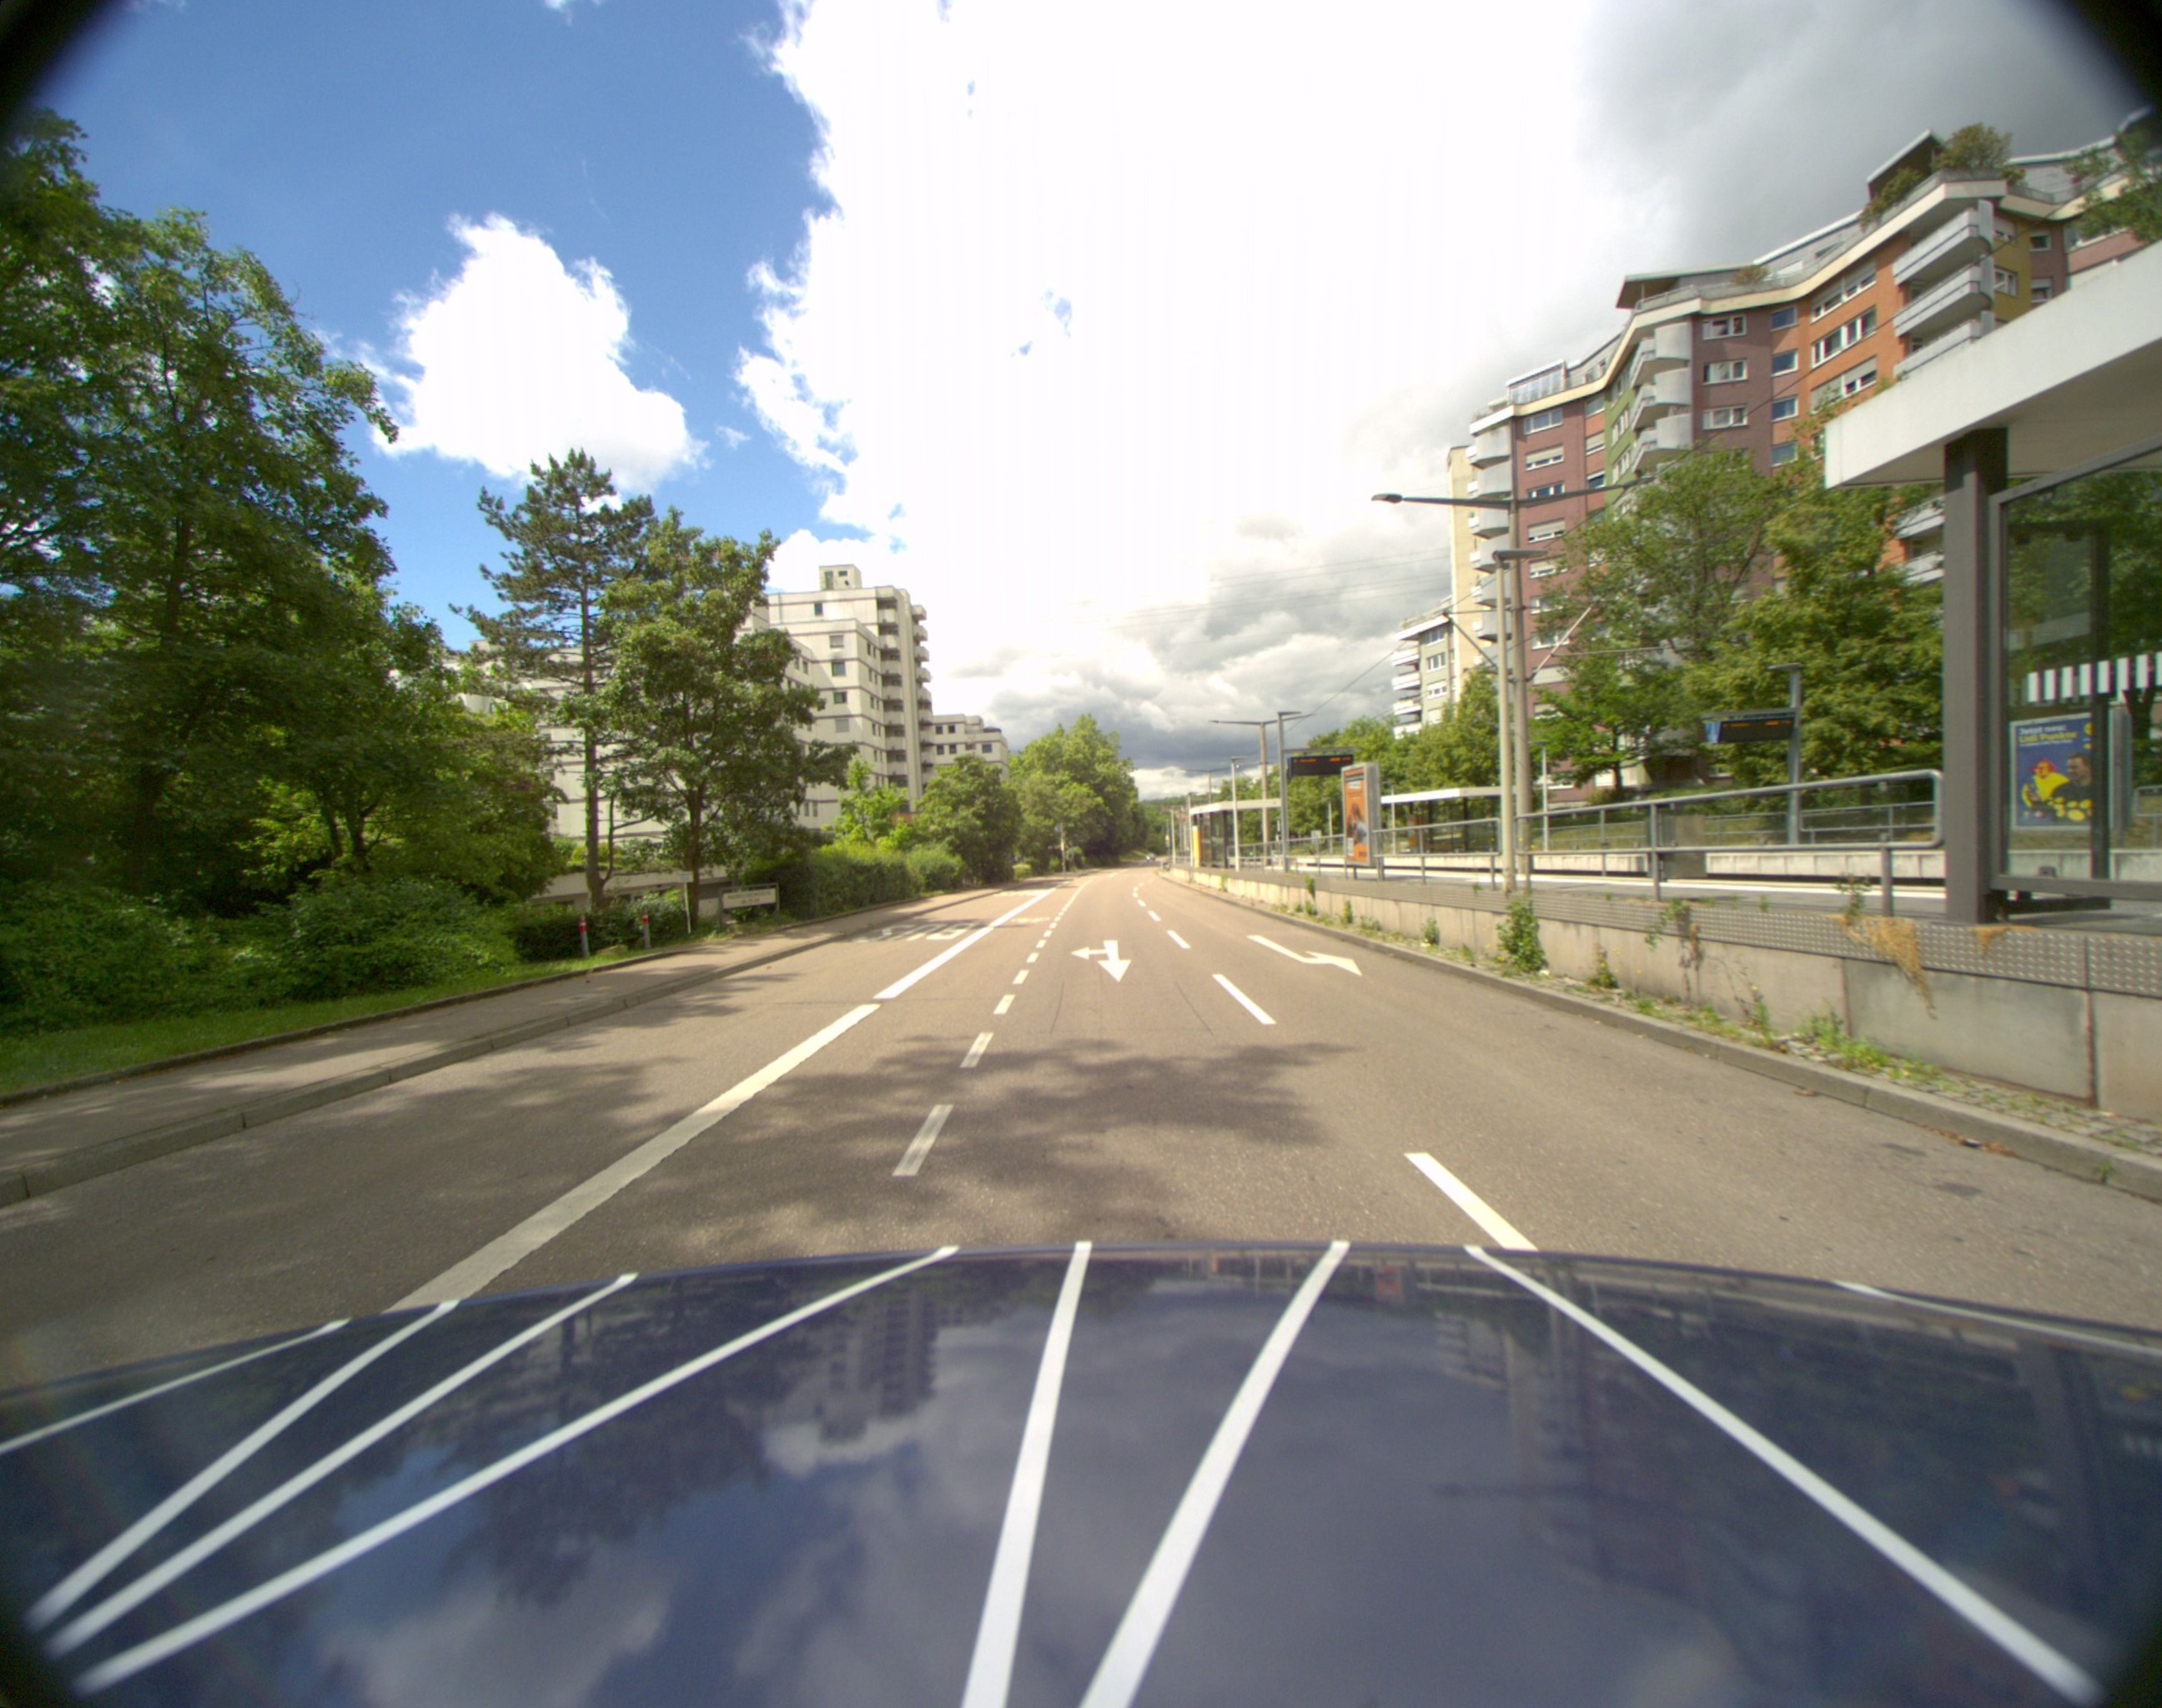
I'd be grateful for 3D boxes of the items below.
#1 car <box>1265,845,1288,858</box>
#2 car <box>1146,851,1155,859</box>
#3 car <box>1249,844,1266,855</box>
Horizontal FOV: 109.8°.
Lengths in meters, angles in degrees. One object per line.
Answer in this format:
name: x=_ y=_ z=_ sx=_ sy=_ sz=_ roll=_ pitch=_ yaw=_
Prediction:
car: x=22.621 y=-0.279 z=87.845 sx=1.658 sy=1.410 sz=4.000 roll=-2 pitch=0 yaw=1
car: x=14.402 y=0.248 z=157.885 sx=1.736 sy=1.477 sz=3.817 roll=-2 pitch=0 yaw=4
car: x=24.225 y=-0.590 z=104.521 sx=1.658 sy=1.503 sz=3.738 roll=-2 pitch=0 yaw=5
